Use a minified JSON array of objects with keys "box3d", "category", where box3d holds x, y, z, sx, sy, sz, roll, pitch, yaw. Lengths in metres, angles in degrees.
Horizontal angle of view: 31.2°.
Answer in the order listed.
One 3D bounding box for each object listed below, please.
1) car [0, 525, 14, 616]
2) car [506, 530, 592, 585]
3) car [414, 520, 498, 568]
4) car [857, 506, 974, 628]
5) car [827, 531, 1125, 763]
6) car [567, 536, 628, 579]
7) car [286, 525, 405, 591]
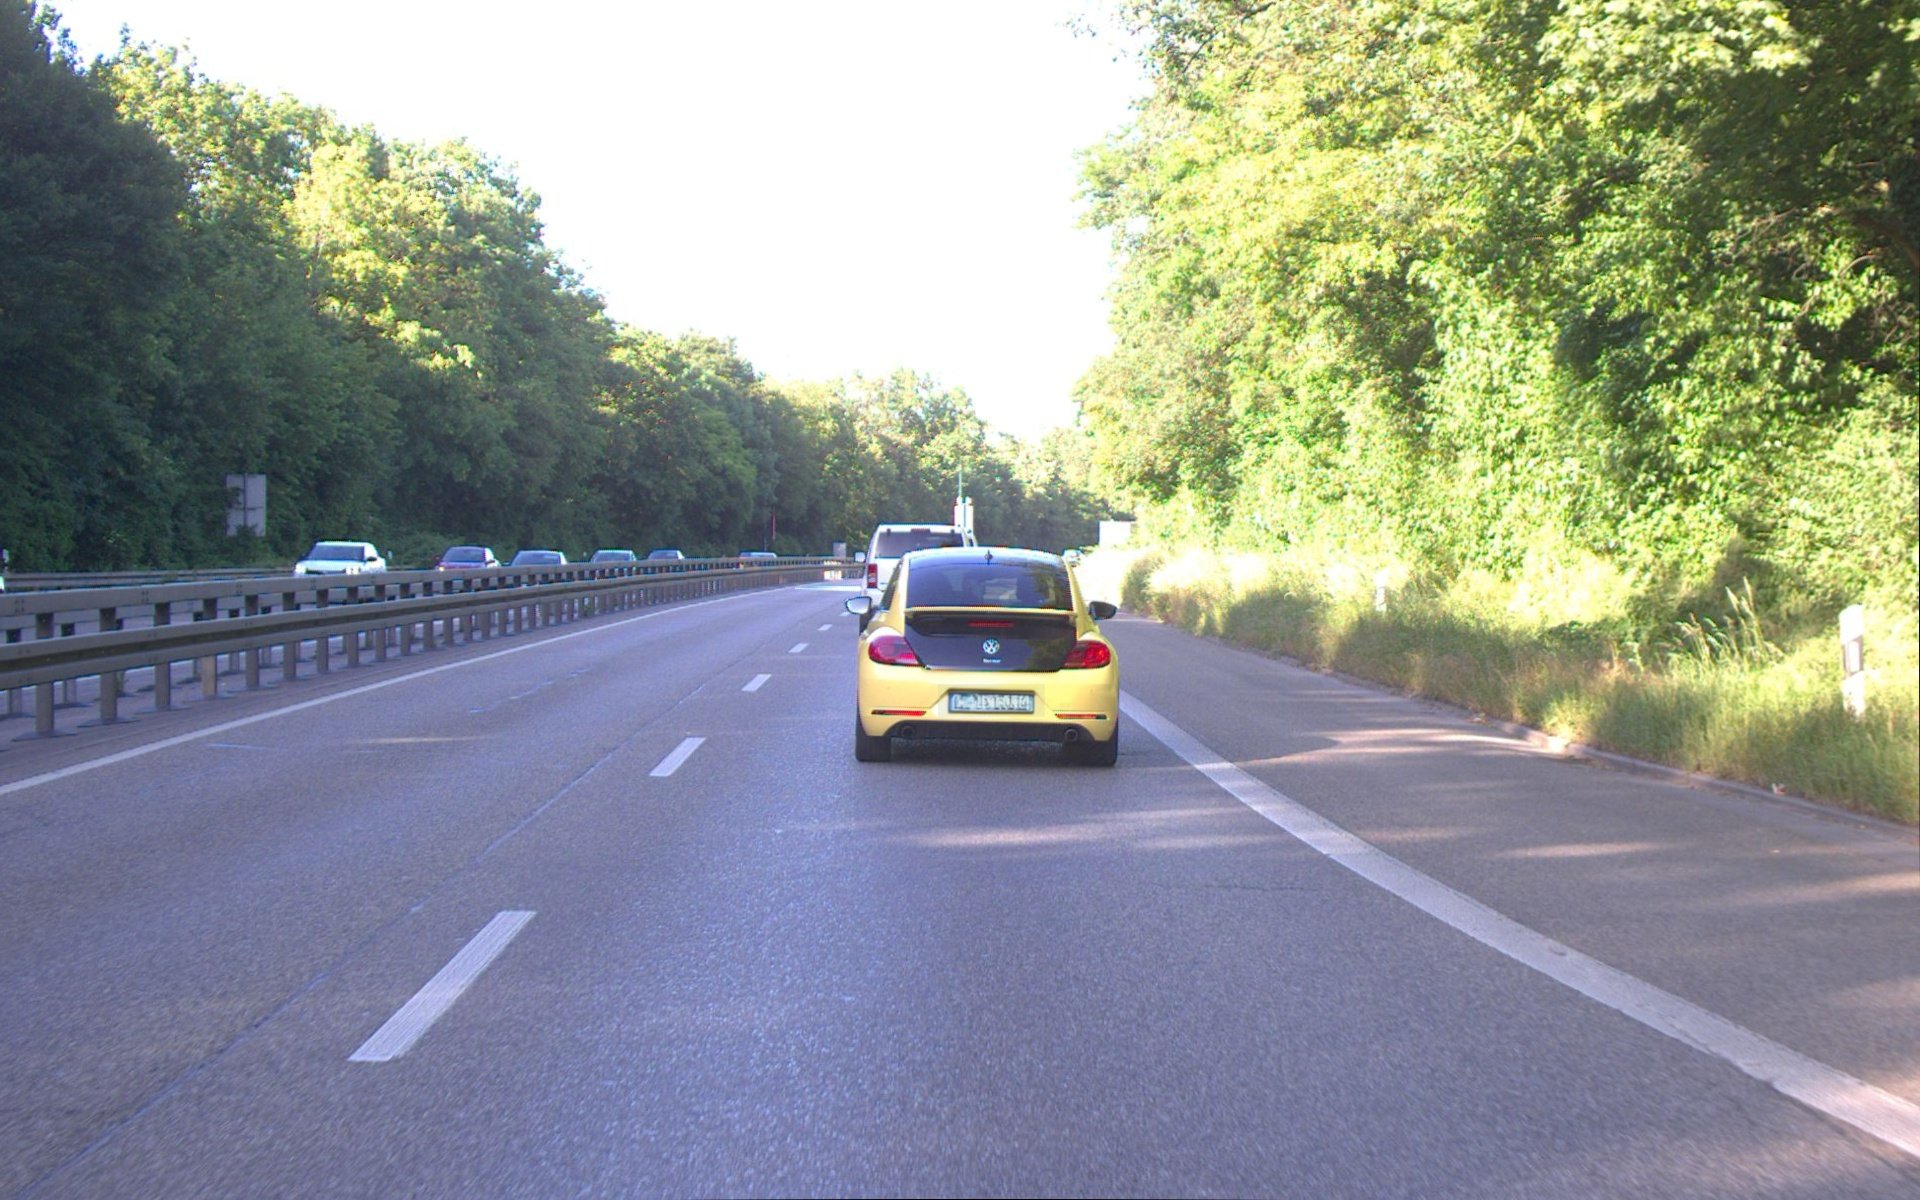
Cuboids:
[{"box3d":[-16.726,-0.441,55.168,1.993,1.481,4.000,-1,1,-1],"category":"car"},{"box3d":[-11.558,-1.201,96.877,1.724,1.463,4.096,-1,1,2],"category":"car"},{"box3d":[-16.075,-1.786,109.793,1.993,1.459,4.000,-1,1,1],"category":"car"},{"box3d":[-0.686,-0.527,53.408,1.741,1.823,3.423,1,1,-1],"category":"car"},{"box3d":[0.186,0.276,24.253,1.939,1.503,3.422,1,1,3],"category":"car"},{"box3d":[-12.569,-1.468,119.380,1.724,1.368,4.096,-1,-1,-1],"category":"car"},{"box3d":[-15.868,-1.089,88.990,1.994,1.617,4.789,-1,1,2],"category":"car"}]
